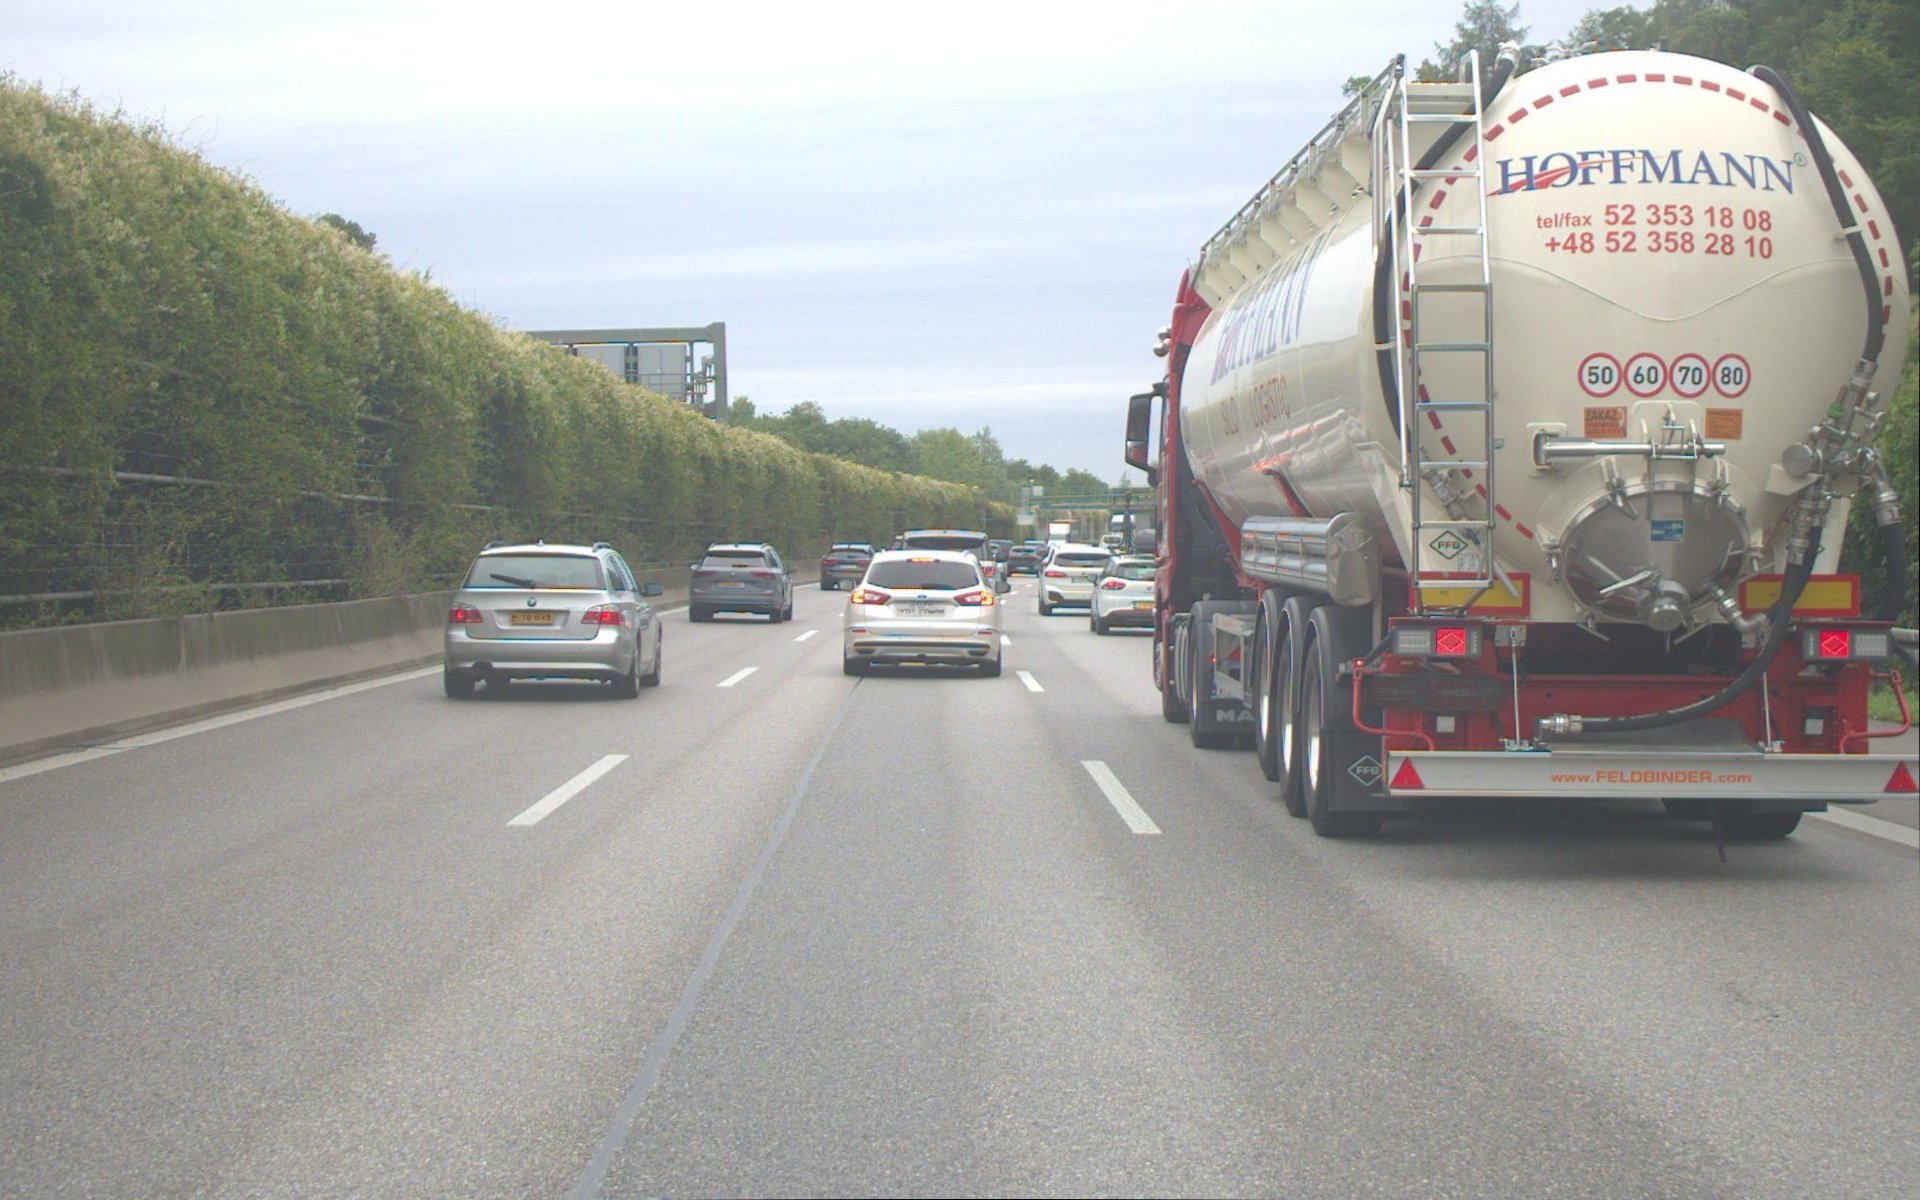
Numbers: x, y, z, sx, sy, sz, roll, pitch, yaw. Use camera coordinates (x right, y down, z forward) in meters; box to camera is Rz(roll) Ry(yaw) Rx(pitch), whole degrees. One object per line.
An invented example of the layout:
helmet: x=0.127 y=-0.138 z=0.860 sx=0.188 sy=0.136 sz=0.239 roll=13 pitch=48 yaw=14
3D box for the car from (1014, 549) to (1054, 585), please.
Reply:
car: x=3.306 y=-1.479 z=154.220 sx=1.689 sy=1.534 sz=3.871 roll=1 pitch=1 yaw=0

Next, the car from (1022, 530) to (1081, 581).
car: x=2.764 y=-1.357 z=104.263 sx=1.689 sy=1.501 sz=3.871 roll=1 pitch=1 yaw=1

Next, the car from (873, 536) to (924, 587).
car: x=-2.464 y=-1.559 z=138.964 sx=1.993 sy=2.007 sz=4.000 roll=0 pitch=1 yaw=-1

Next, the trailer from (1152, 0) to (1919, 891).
trailer: x=2.997 y=-0.776 z=21.510 sx=2.668 sy=3.925 sz=13.131 roll=1 pitch=1 yaw=-1

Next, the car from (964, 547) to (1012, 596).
car: x=1.049 y=-1.059 z=127.885 sx=1.790 sy=1.773 sz=3.871 roll=0 pitch=1 yaw=1

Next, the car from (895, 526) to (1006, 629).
car: x=-0.194 y=-0.418 z=59.329 sx=1.689 sy=1.501 sz=3.872 roll=4 pitch=2 yaw=-2

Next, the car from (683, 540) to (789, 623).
car: x=-4.214 y=-0.375 z=65.298 sx=1.720 sy=1.507 sz=5.030 roll=1 pitch=1 yaw=-1

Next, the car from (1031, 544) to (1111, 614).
car: x=2.472 y=-0.480 z=77.110 sx=1.689 sy=1.501 sz=3.871 roll=1 pitch=1 yaw=1

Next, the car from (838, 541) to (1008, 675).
car: x=-0.438 y=0.049 z=41.214 sx=1.891 sy=1.499 sz=5.030 roll=1 pitch=1 yaw=-1

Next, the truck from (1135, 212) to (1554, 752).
truck: x=2.968 y=-0.891 z=28.329 sx=2.695 sy=3.899 sz=6.556 roll=1 pitch=1 yaw=0

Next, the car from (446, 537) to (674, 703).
car: x=-3.877 y=0.139 z=34.054 sx=1.720 sy=1.464 sz=5.031 roll=1 pitch=2 yaw=-1

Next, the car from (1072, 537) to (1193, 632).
car: x=3.034 y=-0.308 z=61.398 sx=1.816 sy=1.620 sz=5.030 roll=1 pitch=1 yaw=-1

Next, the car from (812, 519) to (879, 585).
car: x=-3.571 y=-1.512 z=107.610 sx=1.993 sy=2.007 sz=3.841 roll=0 pitch=1 yaw=-1
